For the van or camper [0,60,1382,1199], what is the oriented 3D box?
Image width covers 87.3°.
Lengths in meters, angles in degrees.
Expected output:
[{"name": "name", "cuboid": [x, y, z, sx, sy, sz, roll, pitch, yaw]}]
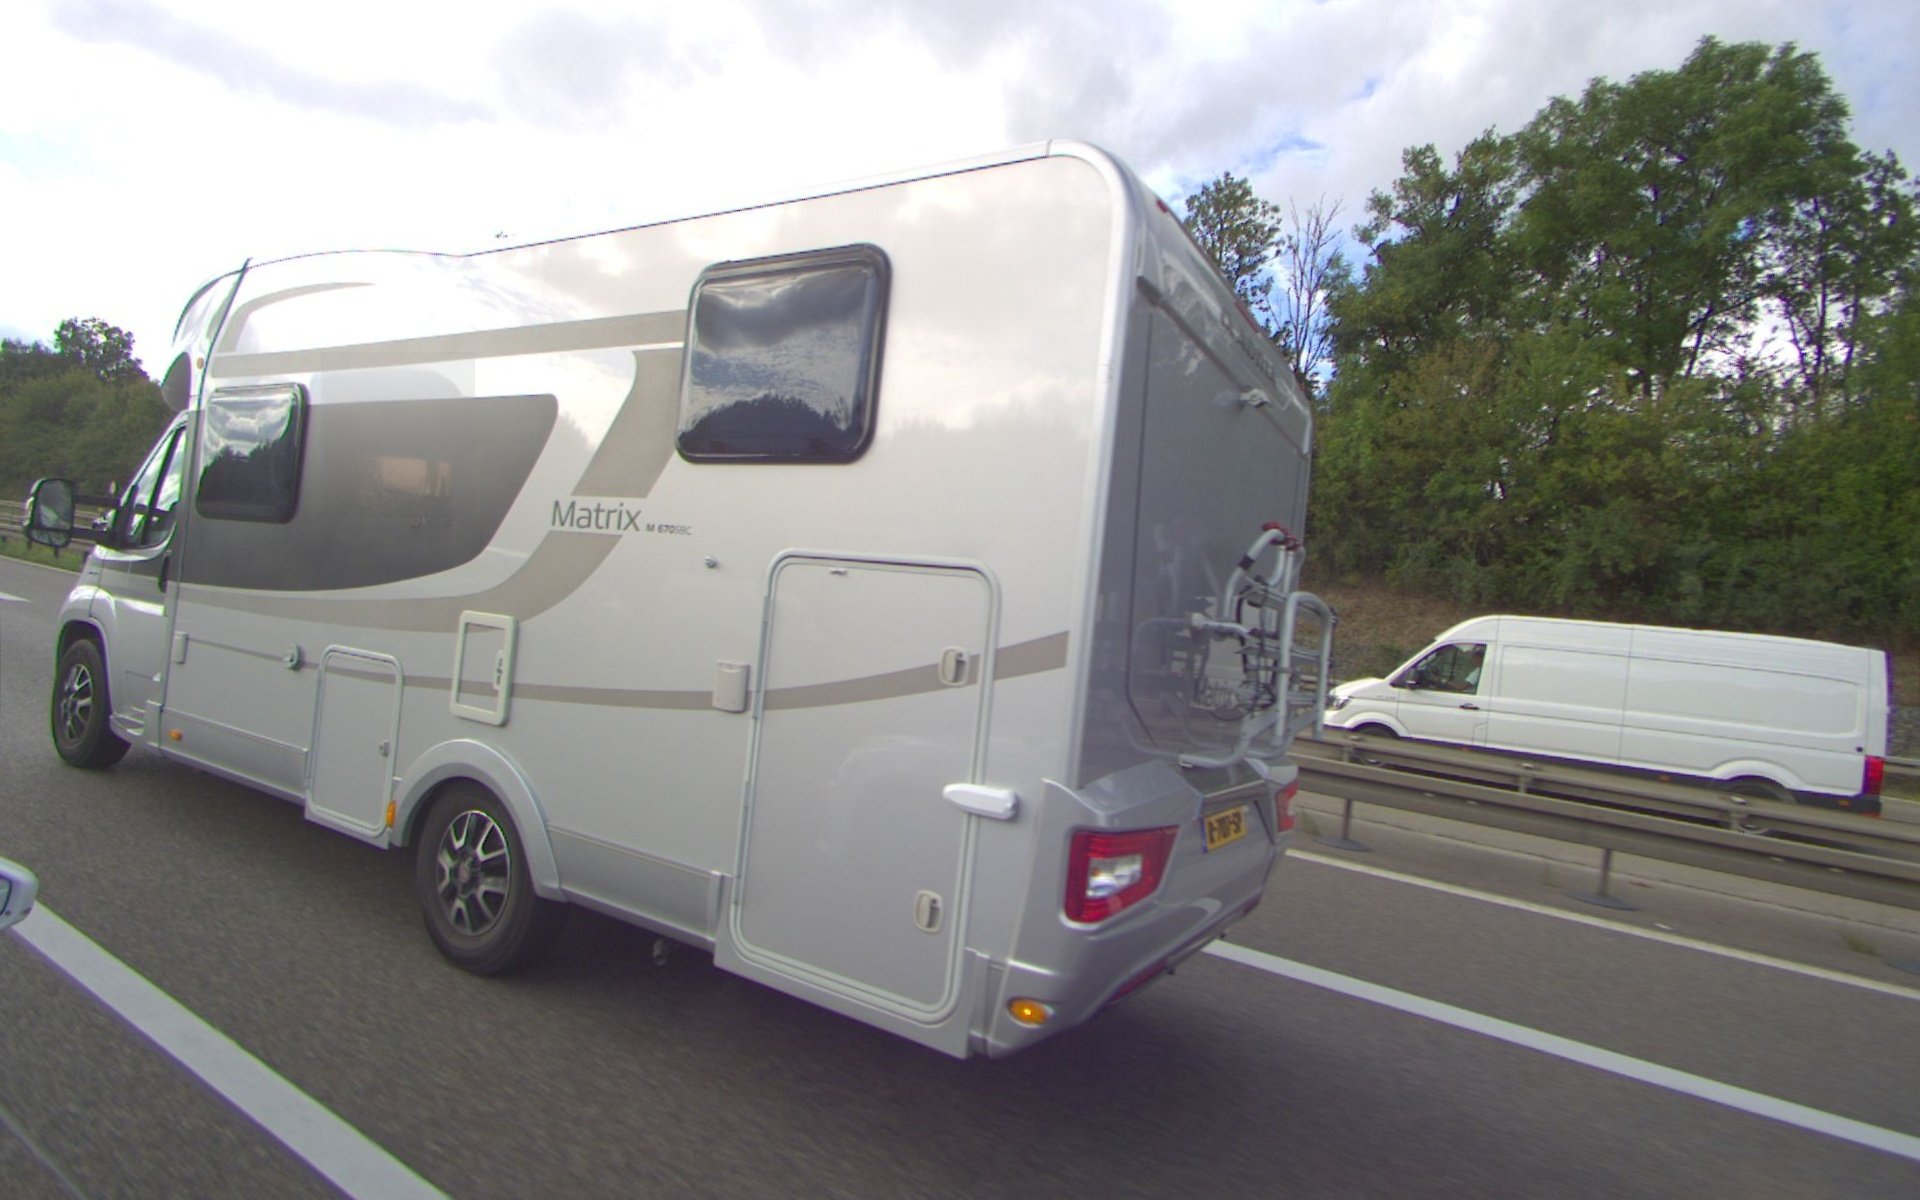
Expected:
[{"name": "van or camper", "cuboid": [-2.181, -0.071, 5.201, 7.534, 2.754, 2.473, 7, -1, 31]}]

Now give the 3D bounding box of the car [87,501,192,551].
[{"name": "car", "cuboid": [-32.662, -2.959, 40.027, 4.450, 1.504, 1.844, 7, 2, 32]}]

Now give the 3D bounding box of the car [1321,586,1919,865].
[{"name": "car", "cuboid": [8.872, 1.489, 14.171, 6.628, 2.587, 2.072, 7, 1, 30]}]
